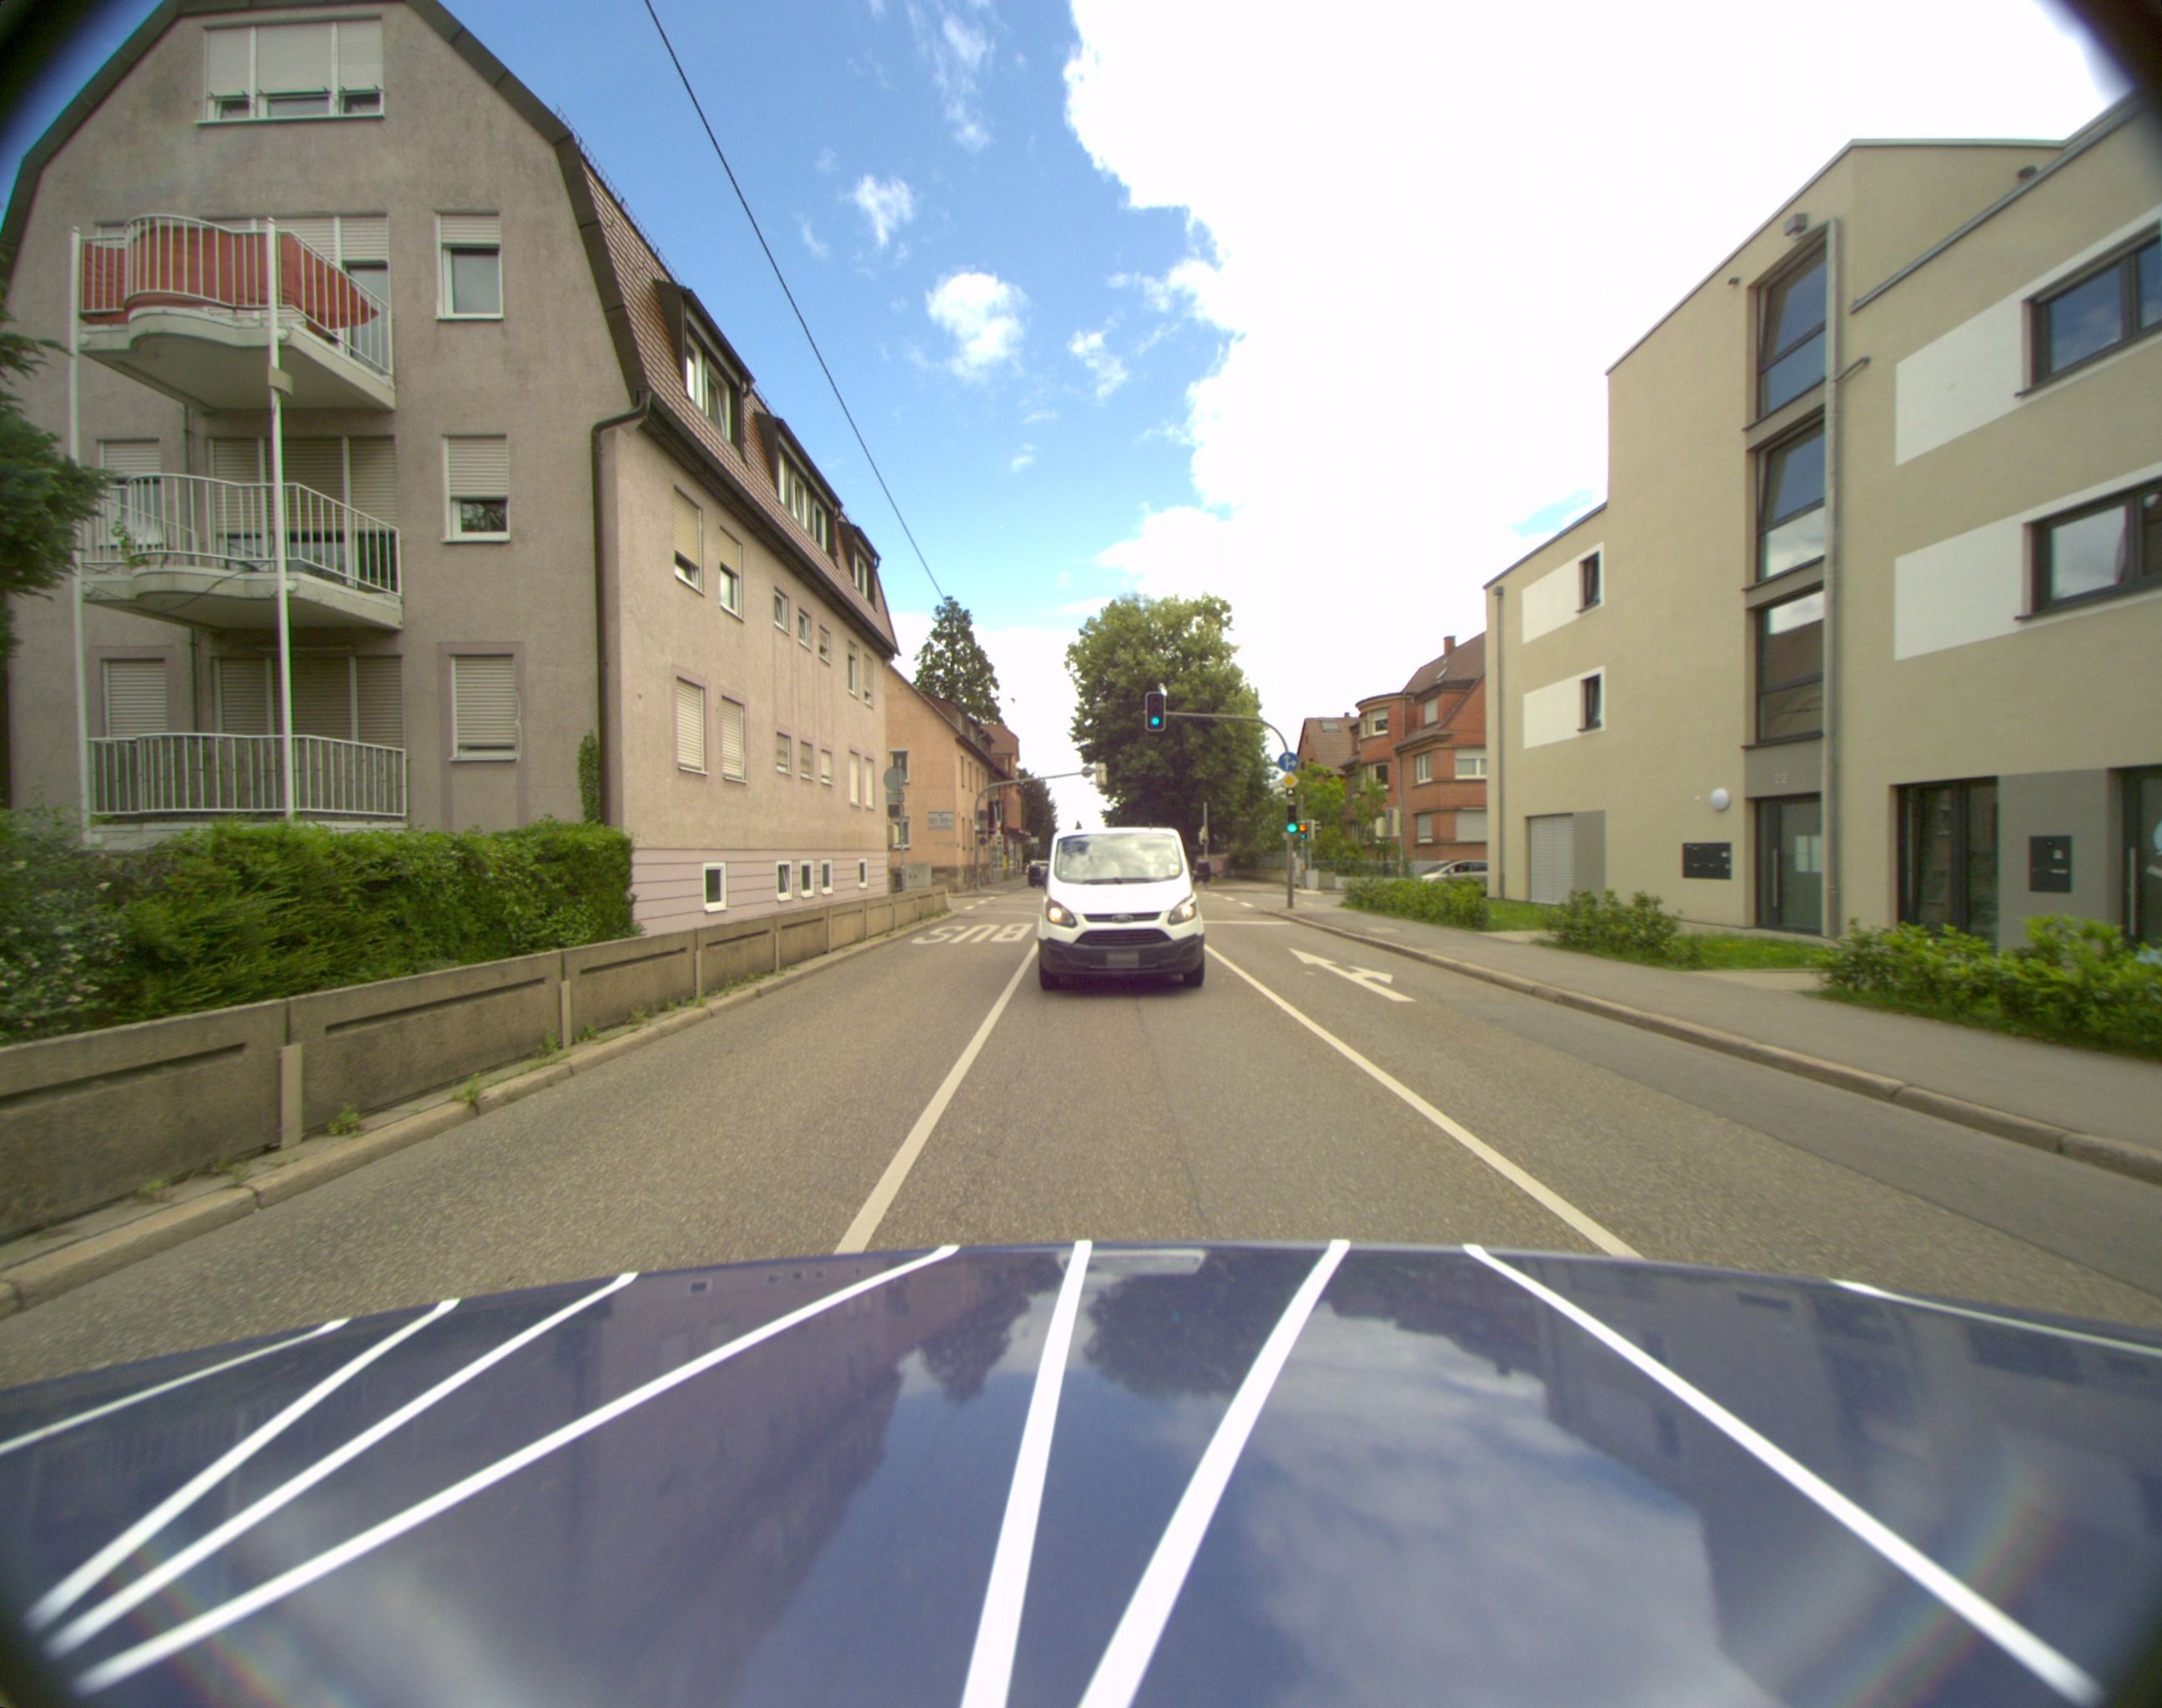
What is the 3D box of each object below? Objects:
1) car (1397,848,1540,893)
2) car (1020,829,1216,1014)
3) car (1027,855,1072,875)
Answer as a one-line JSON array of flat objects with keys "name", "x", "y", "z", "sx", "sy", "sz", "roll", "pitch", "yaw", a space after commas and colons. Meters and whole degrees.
[{"name": "car", "x": 15.905, "y": 0.649, "z": 31.336, "sx": 4.813, "sy": 1.675, "sz": 2.175, "roll": -1, "pitch": 0, "yaw": -4}, {"name": "car", "x": 0.410, "y": 0.718, "z": 10.655, "sx": 2.062, "sy": 1.945, "sz": 5.060, "roll": -1, "pitch": 0, "yaw": 0}, {"name": "car", "x": -2.982, "y": 1.012, "z": 72.226, "sx": 4.000, "sy": 1.674, "sz": 1.837, "roll": -3, "pitch": 1, "yaw": -10}]
